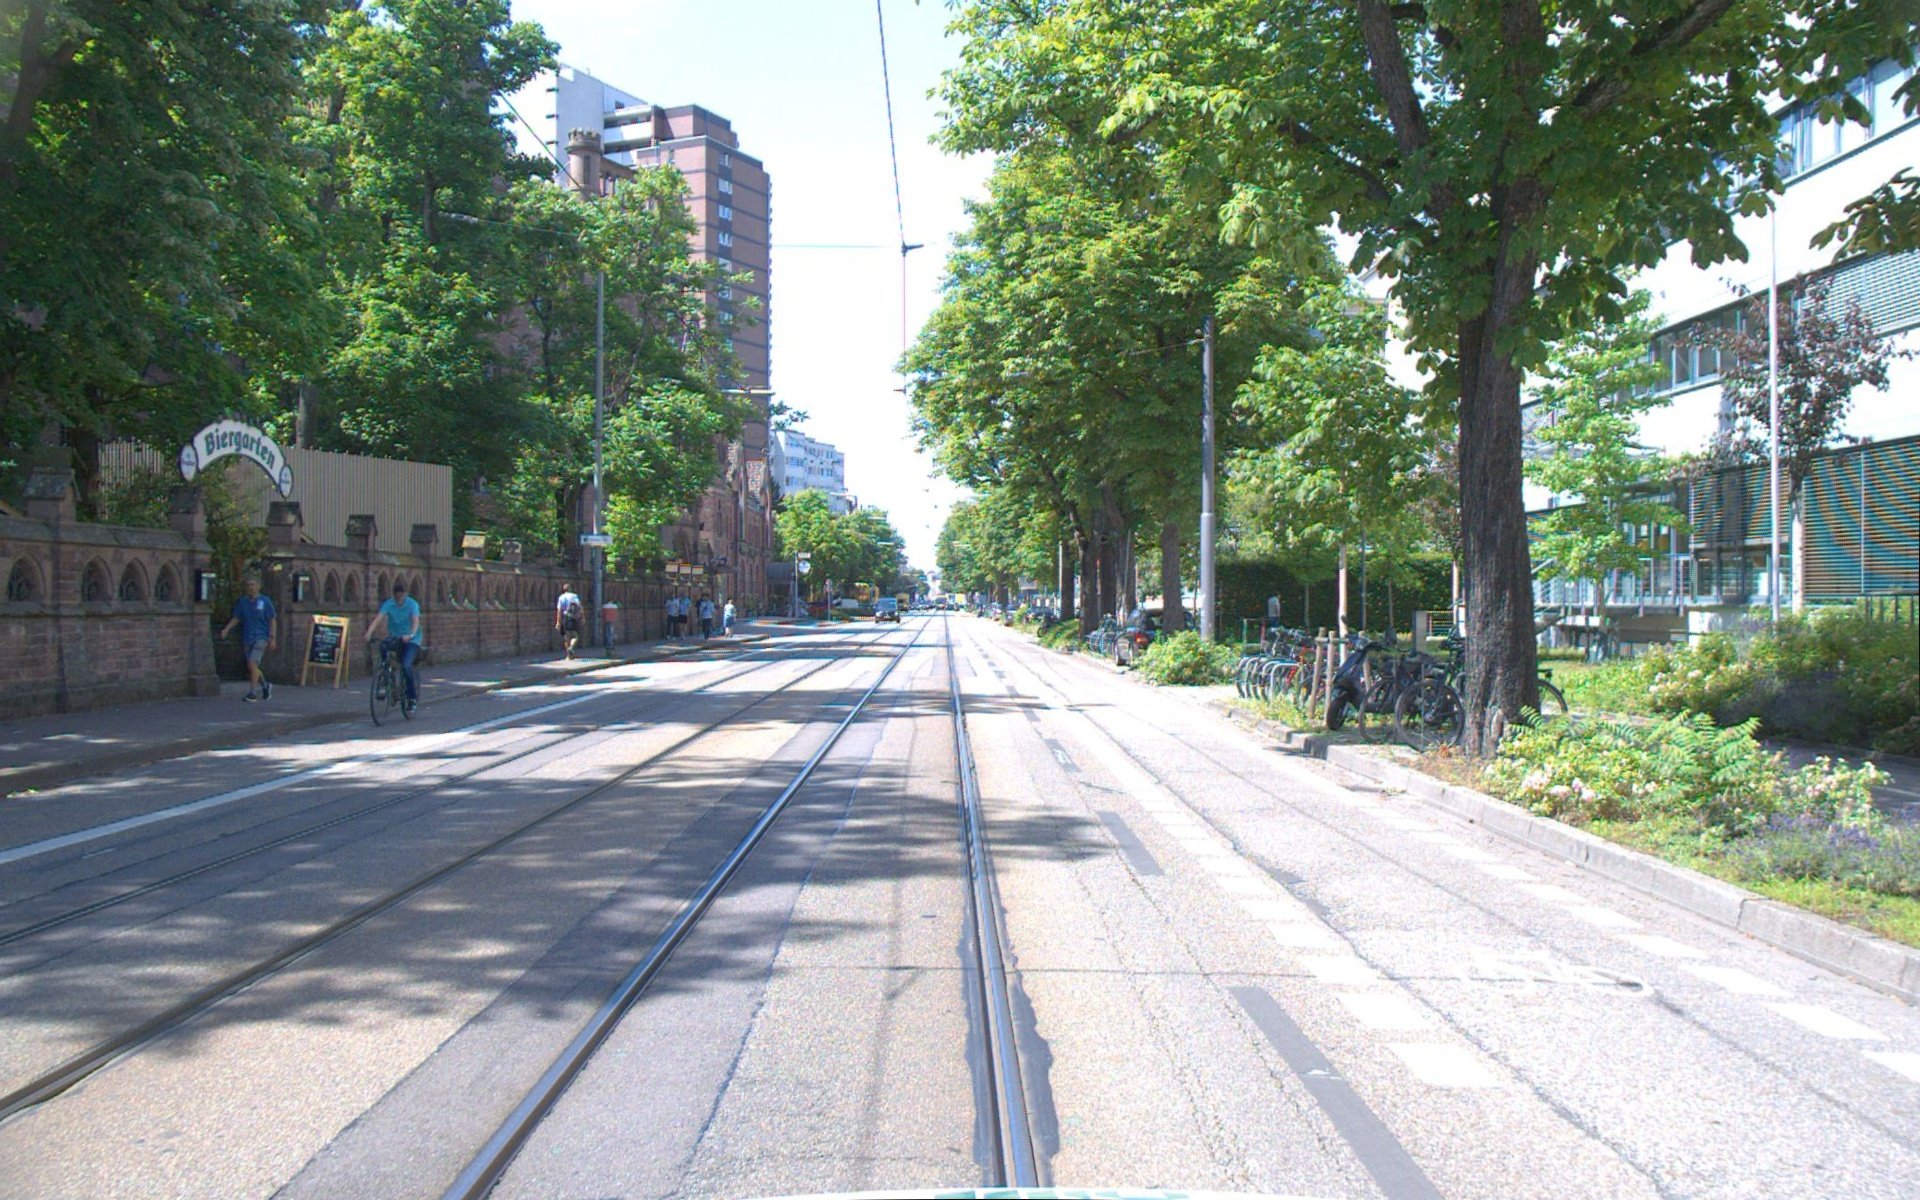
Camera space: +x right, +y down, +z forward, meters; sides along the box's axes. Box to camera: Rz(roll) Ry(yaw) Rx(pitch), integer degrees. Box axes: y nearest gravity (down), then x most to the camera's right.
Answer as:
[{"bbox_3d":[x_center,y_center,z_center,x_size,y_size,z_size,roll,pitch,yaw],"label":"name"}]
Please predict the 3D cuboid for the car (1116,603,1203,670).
[{"bbox_3d":[4.796,0.852,40.181,1.600,1.527,3.999,0,0,-1],"label":"car"}]

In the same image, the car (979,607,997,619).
[{"bbox_3d":[3.096,1.475,185.259,1.953,1.333,3.999,0,0,-1],"label":"car"}]

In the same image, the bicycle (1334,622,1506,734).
[{"bbox_3d":[4.963,0.840,17.899,1.717,1.186,0.530,0,0,-4],"label":"bicycle"}]

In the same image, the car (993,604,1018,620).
[{"bbox_3d":[3.864,0.990,141.571,1.953,1.333,3.999,0,0,-1],"label":"car"}]

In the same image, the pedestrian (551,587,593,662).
[{"bbox_3d":[-9.463,0.583,40.375,0.798,1.801,0.924,0,0,-1],"label":"pedestrian"}]

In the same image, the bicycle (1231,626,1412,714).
[{"bbox_3d":[5.129,0.986,23.569,2.458,1.231,0.622,0,0,3],"label":"bicycle"}]

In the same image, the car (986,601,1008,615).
[{"bbox_3d":[3.463,0.745,154.473,1.953,1.333,3.999,0,0,-1],"label":"car"}]

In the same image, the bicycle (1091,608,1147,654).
[{"bbox_3d":[4.475,0.869,46.580,1.532,1.263,0.437,0,0,1],"label":"bicycle"}]

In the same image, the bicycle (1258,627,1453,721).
[{"bbox_3d":[5.285,0.989,22.198,2.458,1.231,0.648,0,0,3],"label":"bicycle"}]

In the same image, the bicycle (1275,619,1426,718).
[{"bbox_3d":[4.769,0.828,20.240,1.717,1.186,0.530,0,0,-4],"label":"bicycle"}]

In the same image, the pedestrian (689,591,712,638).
[{"bbox_3d":[-9.858,0.553,62.903,0.728,1.758,0.867,0,0,-1],"label":"pedestrian"}]

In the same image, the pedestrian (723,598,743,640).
[{"bbox_3d":[-9.524,0.802,69.342,0.728,1.758,0.867,0,0,-2],"label":"pedestrian"}]

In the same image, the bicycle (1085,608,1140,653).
[{"bbox_3d":[4.355,0.865,47.161,1.532,1.263,0.437,0,0,1],"label":"bicycle"}]

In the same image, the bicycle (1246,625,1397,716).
[{"bbox_3d":[4.988,0.962,22.893,1.955,1.231,0.662,0,0,3],"label":"bicycle"}]

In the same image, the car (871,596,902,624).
[{"bbox_3d":[-5.391,0.717,121.546,1.952,2.049,4.001,0,0,2],"label":"car"}]

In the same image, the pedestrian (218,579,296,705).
[{"bbox_3d":[-10.023,0.588,23.614,0.728,1.758,0.867,0,0,-1],"label":"pedestrian"}]

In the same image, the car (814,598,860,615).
[{"bbox_3d":[-13.335,0.683,179.521,4.675,1.747,1.981,0,0,-28],"label":"car"}]

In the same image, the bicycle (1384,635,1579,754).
[{"bbox_3d":[5.108,0.916,16.232,1.752,1.121,0.531,0,0,-3],"label":"bicycle"}]

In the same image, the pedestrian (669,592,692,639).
[{"bbox_3d":[-10.607,0.575,62.874,0.728,1.758,0.867,0,0,-1],"label":"pedestrian"}]

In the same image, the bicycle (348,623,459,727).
[{"bbox_3d":[-7.198,0.942,21.510,0.686,1.225,2.240,-2,0,-1],"label":"bicycle"}]

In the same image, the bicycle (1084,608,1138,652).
[{"bbox_3d":[4.346,0.864,47.690,1.532,1.263,0.437,0,0,1],"label":"bicycle"}]

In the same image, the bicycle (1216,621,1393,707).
[{"bbox_3d":[5.044,0.937,24.328,2.458,1.231,0.742,0,0,3],"label":"bicycle"}]

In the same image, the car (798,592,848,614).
[{"bbox_3d":[-12.127,0.260,146.151,3.950,1.835,1.978,2,0,-33],"label":"car"}]

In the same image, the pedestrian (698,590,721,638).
[{"bbox_3d":[-9.324,0.515,61.508,0.728,1.758,0.867,0,0,-1],"label":"pedestrian"}]

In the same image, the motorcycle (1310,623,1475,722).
[{"bbox_3d":[5.084,0.847,19.507,1.787,1.130,0.598,0,0,-1],"label":"motorcycle"}]

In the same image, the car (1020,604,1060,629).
[{"bbox_3d":[4.299,0.870,89.541,1.953,1.333,3.999,0,0,-1],"label":"car"}]

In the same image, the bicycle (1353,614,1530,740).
[{"bbox_3d":[5.051,0.797,17.385,1.717,1.293,0.530,0,0,-4],"label":"bicycle"}]

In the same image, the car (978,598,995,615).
[{"bbox_3d":[3.102,0.759,195.013,1.953,1.937,3.999,0,0,-1],"label":"car"}]

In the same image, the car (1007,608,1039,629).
[{"bbox_3d":[4.234,1.241,111.035,1.953,1.333,3.999,0,0,-1],"label":"car"}]

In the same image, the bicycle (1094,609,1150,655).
[{"bbox_3d":[4.510,0.877,46.076,1.532,1.263,0.437,0,0,1],"label":"bicycle"}]

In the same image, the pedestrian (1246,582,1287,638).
[{"bbox_3d":[10.384,0.339,56.113,1.191,1.859,0.831,0,0,-4],"label":"pedestrian"}]

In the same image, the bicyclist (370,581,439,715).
[{"bbox_3d":[-7.228,0.610,21.560,0.629,1.709,0.814,0,0,-1],"label":"bicyclist"}]

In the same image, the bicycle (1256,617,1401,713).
[{"bbox_3d":[4.662,0.821,20.954,1.717,1.186,0.530,0,0,-4],"label":"bicycle"}]

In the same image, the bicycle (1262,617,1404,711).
[{"bbox_3d":[4.833,0.825,21.459,1.717,1.186,0.530,0,0,-4],"label":"bicycle"}]
